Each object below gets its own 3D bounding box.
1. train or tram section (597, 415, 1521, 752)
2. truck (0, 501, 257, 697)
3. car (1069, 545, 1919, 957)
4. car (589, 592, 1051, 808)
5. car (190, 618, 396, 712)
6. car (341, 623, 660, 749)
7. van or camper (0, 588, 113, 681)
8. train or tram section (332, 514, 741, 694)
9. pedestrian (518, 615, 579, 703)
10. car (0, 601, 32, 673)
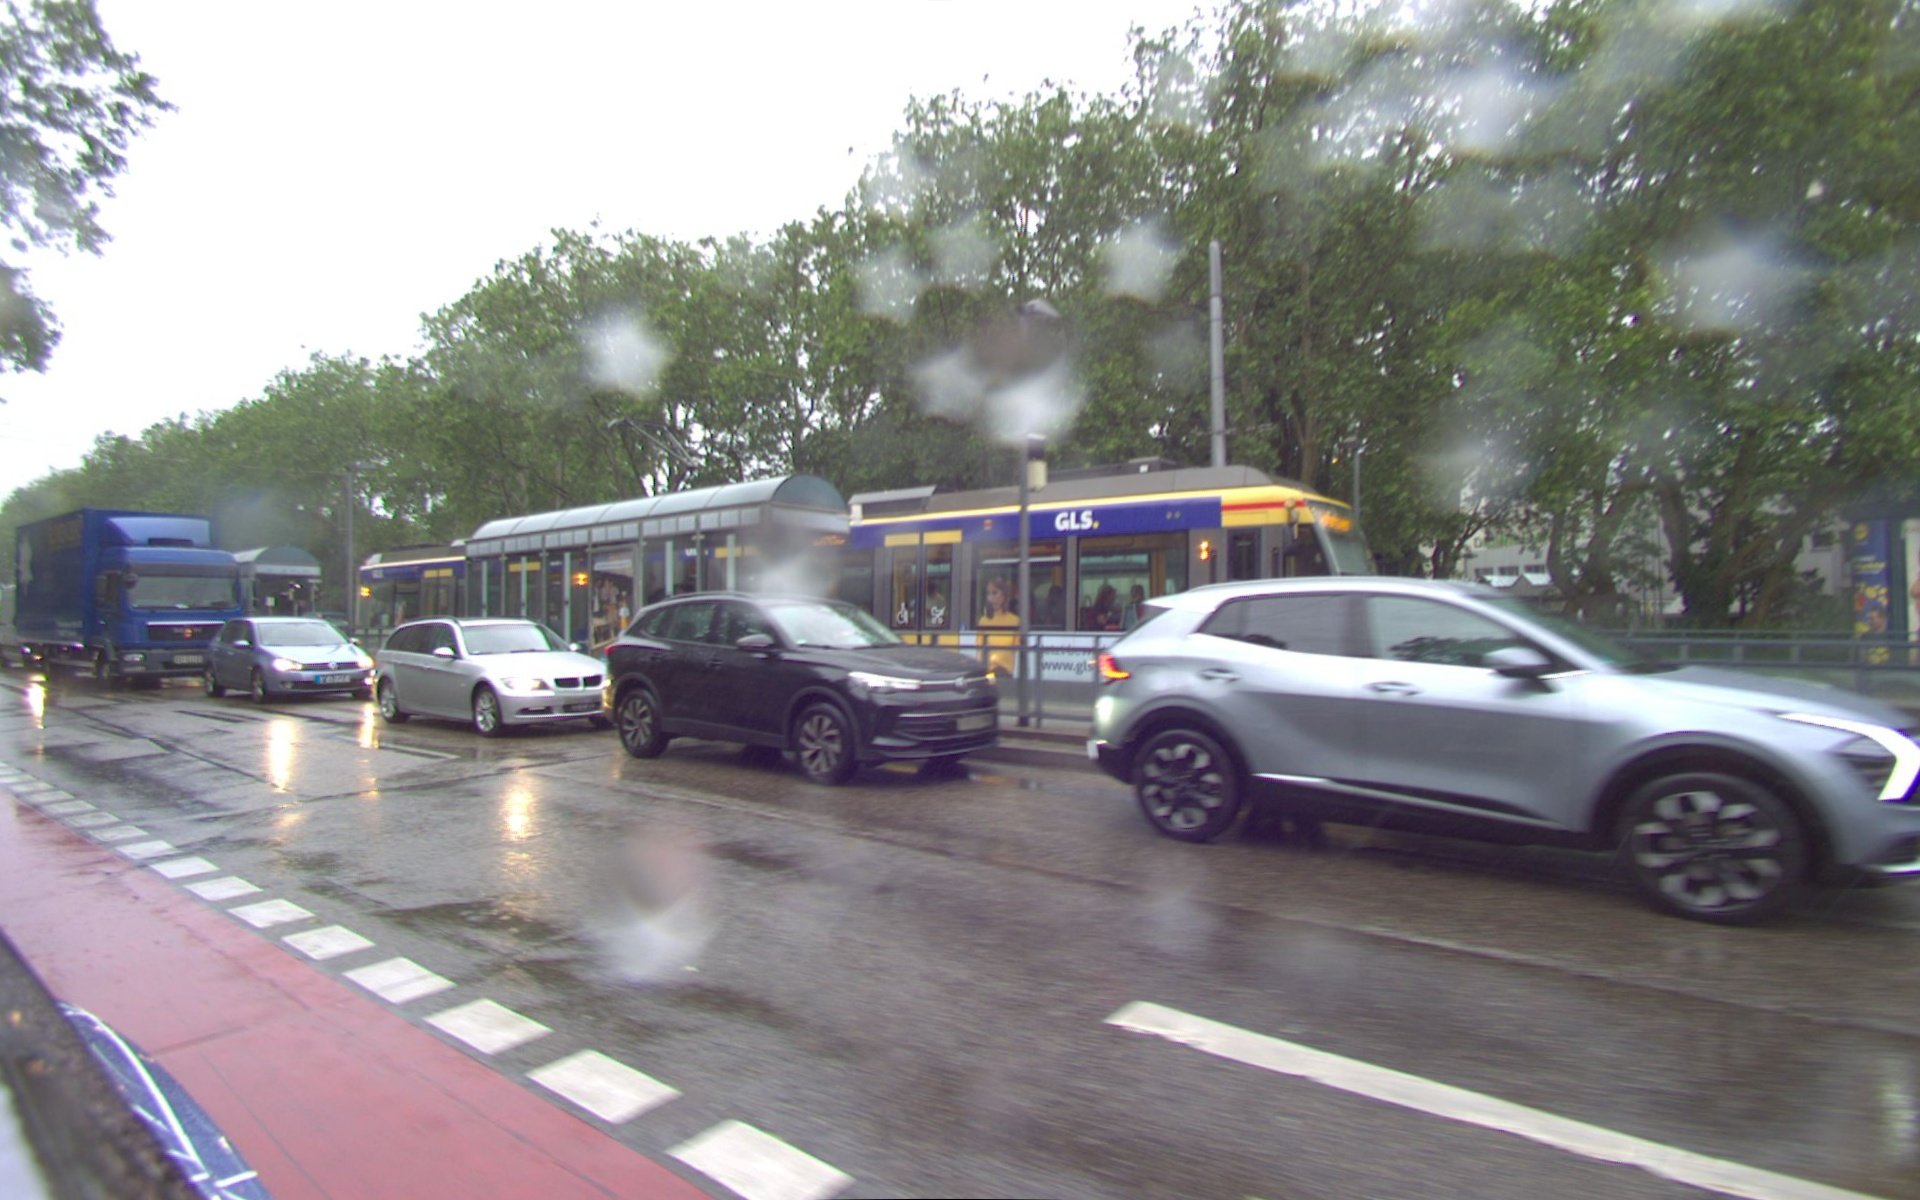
[{"bbox_3d":[0.078,-0.070,16.475,15.482,3.438,3.507,-1,0,38],"label":"train or tram section"},{"bbox_3d":[-20.136,0.115,24.216,9.797,3.919,2.514,-1,-3,38],"label":"truck"},{"bbox_3d":[3.015,0.651,5.985,4.451,1.636,1.895,-1,-2,40],"label":"car"},{"bbox_3d":[-1.473,0.806,9.773,4.313,1.633,1.975,-1,-2,37],"label":"car"},{"bbox_3d":[-12.058,1.093,18.215,4.071,1.498,1.872,-1,-1,37],"label":"car"},{"bbox_3d":[-6.257,1.035,13.576,4.599,1.405,1.975,-1,-3,37],"label":"car"},{"bbox_3d":[-28.134,1.016,31.097,6.424,2.590,1.974,-1,0,39],"label":"van or camper"},{"bbox_3d":[-11.313,0.159,25.586,13.644,3.539,3.479,-1,0,39],"label":"train or tram section"},{"bbox_3d":[-6.933,0.973,17.043,0.749,1.429,0.627,-1,0,37],"label":"pedestrian"},{"bbox_3d":[-34.927,1.315,36.158,5.724,2.445,1.973,-1,0,41],"label":"car"}]
